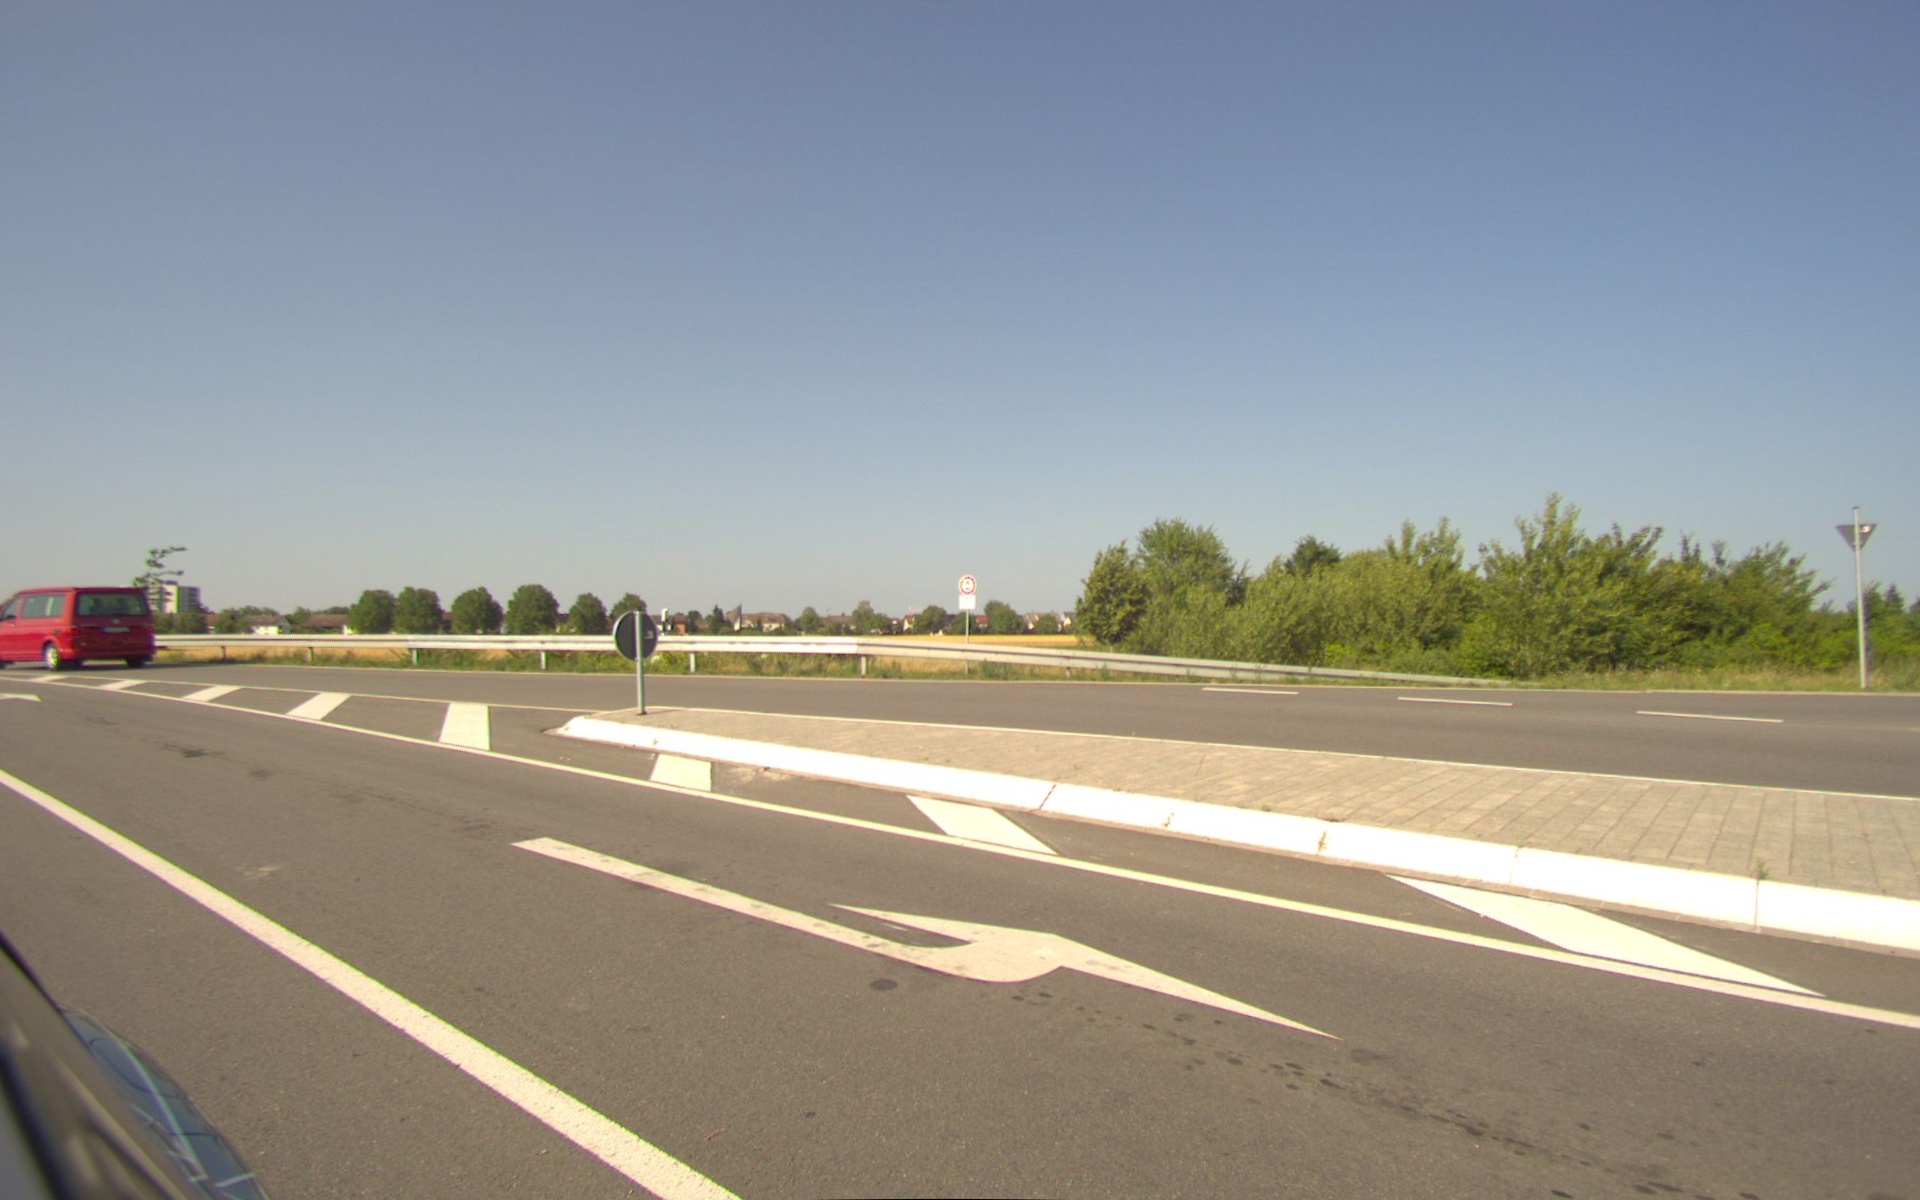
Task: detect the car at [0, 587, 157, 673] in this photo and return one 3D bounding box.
[{"bbox_3d":[-22.161,0.768,24.976,4.901,1.955,1.822,-2,-2,27],"label":"car"}]
